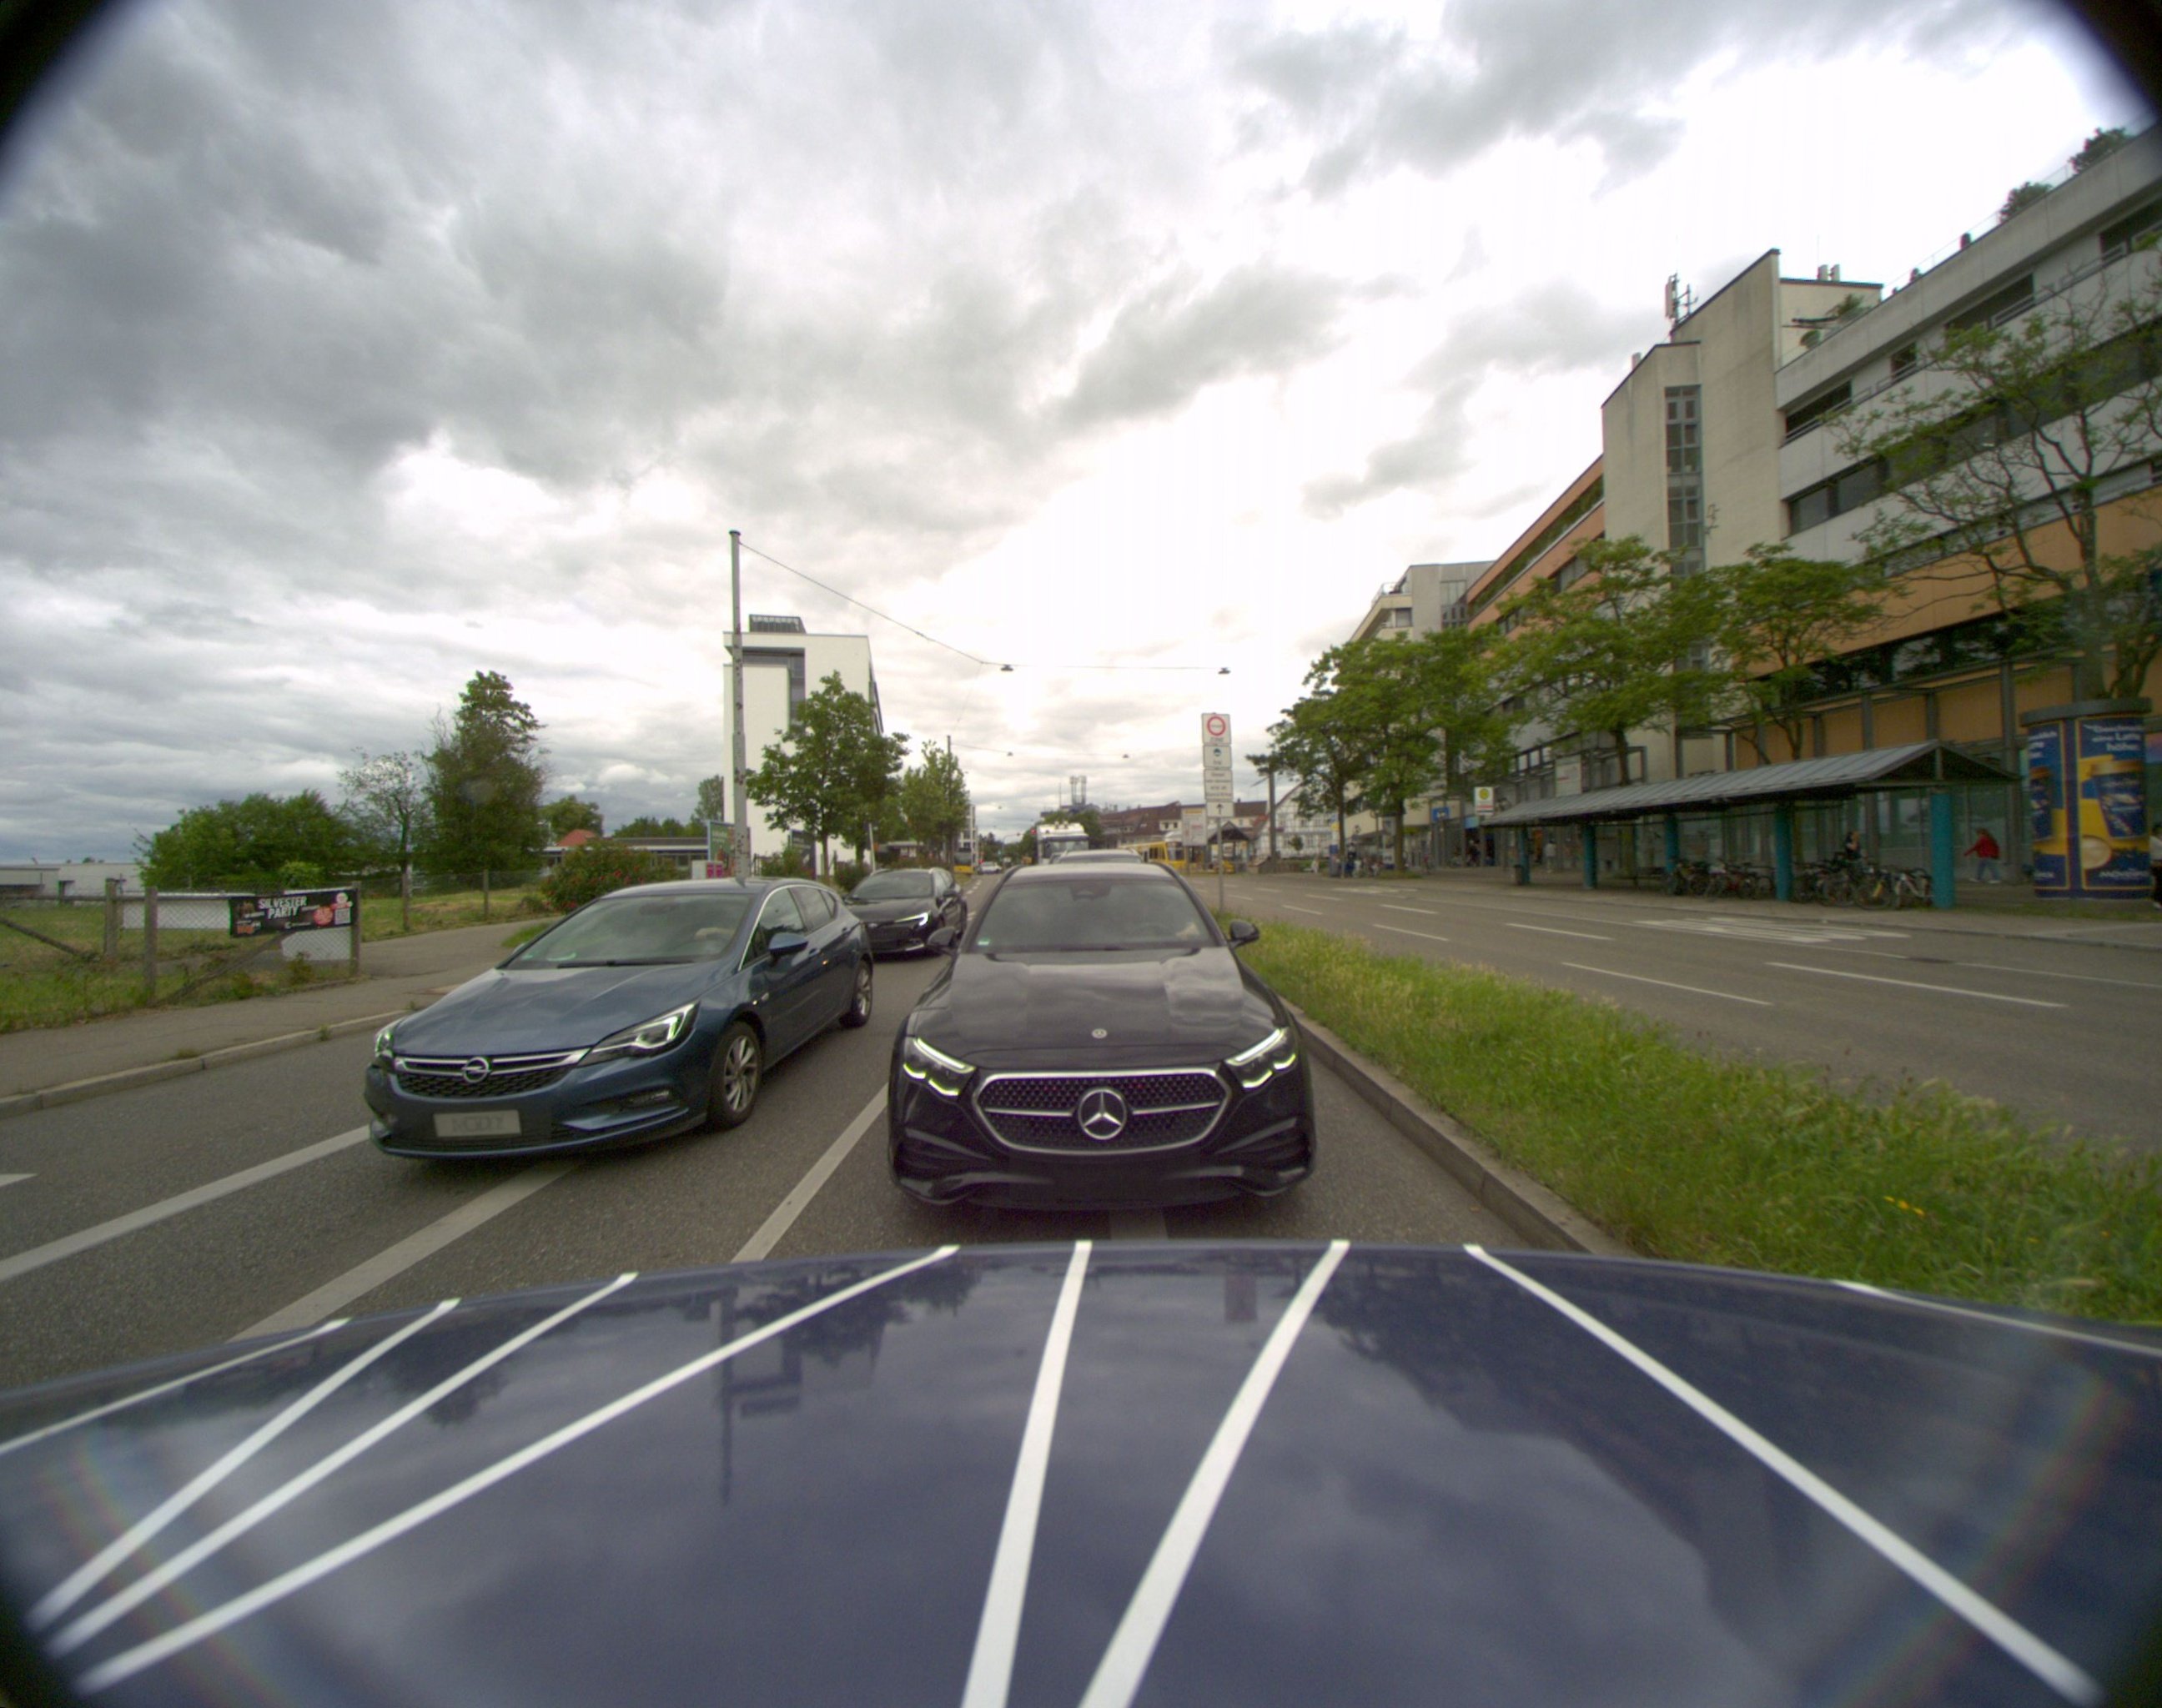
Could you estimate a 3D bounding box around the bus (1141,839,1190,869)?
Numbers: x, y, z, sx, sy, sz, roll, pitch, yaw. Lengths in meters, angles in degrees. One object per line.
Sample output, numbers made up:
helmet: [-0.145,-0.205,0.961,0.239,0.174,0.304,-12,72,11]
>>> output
bus: [8.700,-0.005,79.020,2.556,2.966,8.498,-1,0,-11]

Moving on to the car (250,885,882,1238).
car: [-2.913,1.046,5.533,1.826,1.402,4.000,-2,0,0]

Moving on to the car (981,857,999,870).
car: [-11.858,1.246,99.163,1.853,1.606,3.779,-3,0,-13]

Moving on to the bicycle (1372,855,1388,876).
bicycle: [16.402,0.615,41.651,0.593,1.071,2.041,0,1,29]

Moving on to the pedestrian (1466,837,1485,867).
pedestrian: [24.412,-0.141,46.989,0.765,1.835,0.752,-1,1,1]

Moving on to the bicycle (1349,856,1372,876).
bicycle: [15.479,0.647,42.023,0.593,1.071,2.041,0,1,38]

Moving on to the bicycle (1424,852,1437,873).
bicycle: [19.487,0.461,42.390,0.593,1.119,2.040,0,1,24]

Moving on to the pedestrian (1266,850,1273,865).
pedestrian: [19.318,0.366,77.907,0.577,1.533,0.583,-1,1,-8]

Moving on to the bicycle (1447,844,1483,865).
bicycle: [26.994,0.022,53.406,2.139,1.367,0.620,-2,1,18]

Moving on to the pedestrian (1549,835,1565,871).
pedestrian: [24.099,-0.056,38.494,0.648,1.799,0.761,0,1,34]

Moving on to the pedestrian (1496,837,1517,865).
pedestrian: [25.230,-0.174,45.059,0.765,1.673,0.752,-1,1,1]

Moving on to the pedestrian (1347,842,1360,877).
pedestrian: [17.885,0.348,49.910,0.590,2.294,0.608,-1,1,-2]

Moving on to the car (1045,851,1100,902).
car: [-0.366,0.771,28.351,1.865,1.773,3.999,-1,0,-2]

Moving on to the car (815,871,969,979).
car: [-3.092,1.098,13.235,1.665,1.448,3.921,-2,0,0]

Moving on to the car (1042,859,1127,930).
car: [0.045,0.906,18.915,1.865,1.520,3.999,-1,0,-1]

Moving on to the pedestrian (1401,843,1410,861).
pedestrian: [26.048,-0.156,61.044,0.555,1.485,0.454,-1,1,8]

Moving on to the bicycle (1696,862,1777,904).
bicycle: [17.948,0.784,20.816,1.735,1.035,0.549,-3,1,-2]

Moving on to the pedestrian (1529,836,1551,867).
pedestrian: [25.362,-0.141,42.010,0.765,1.673,0.752,-1,1,1]

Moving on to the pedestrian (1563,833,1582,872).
pedestrian: [25.440,-0.088,39.328,0.566,2.002,0.611,-1,1,6]

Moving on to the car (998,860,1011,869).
car: [-15.209,2.152,151.658,1.998,1.674,3.999,-2,1,1]

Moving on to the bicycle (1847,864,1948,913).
bicycle: [18.685,0.778,17.404,1.735,1.035,0.549,-2,1,-2]

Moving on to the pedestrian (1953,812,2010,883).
pedestrian: [26.057,-0.183,21.990,0.710,2.002,0.793,-2,1,-10]

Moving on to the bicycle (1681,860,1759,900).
bicycle: [18.284,0.737,21.748,1.735,1.035,0.549,-4,1,-2]

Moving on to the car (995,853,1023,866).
car: [-11.911,0.918,125.877,4.143,1.875,1.848,-3,1,-40]

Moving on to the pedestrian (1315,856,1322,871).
pedestrian: [18.744,0.723,59.961,0.341,1.172,0.369,-1,1,-9]

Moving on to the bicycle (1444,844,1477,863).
bicycle: [27.757,-0.036,55.557,2.138,1.358,0.620,-2,1,26]

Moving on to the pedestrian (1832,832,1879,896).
pedestrian: [21.824,0.271,21.422,0.531,1.776,0.770,-1,1,-7]

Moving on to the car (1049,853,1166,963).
car: [0.393,0.816,13.488,1.734,1.601,4.000,-2,0,0]

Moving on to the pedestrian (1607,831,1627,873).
pedestrian: [25.829,-0.076,36.638,0.566,2.002,0.611,-1,1,6]

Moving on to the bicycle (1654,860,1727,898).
bicycle: [18.205,0.742,22.709,1.735,1.035,0.549,-3,1,-2]

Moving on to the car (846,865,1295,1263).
car: [-0.052,0.880,5.196,1.793,1.507,4.249,-1,0,0]

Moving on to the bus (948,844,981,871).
bus: [-12.816,0.383,82.733,2.969,2.616,12.137,-2,1,-11]

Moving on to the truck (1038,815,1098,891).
truck: [-0.766,-0.049,36.730,2.490,3.258,7.428,-1,0,-4]

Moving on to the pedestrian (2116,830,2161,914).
pedestrian: [21.588,0.347,15.235,0.678,1.640,0.721,-2,1,-3]

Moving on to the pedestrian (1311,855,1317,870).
pedestrian: [18.354,0.644,59.867,0.341,1.172,0.369,-1,1,-9]

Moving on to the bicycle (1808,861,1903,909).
bicycle: [18.626,0.746,18.289,1.735,1.035,0.549,-3,1,-2]

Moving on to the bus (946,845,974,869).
bus: [-15.221,0.338,95.056,2.969,2.616,12.911,-2,1,-11]

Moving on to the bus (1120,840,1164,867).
bus: [6.935,-0.084,87.956,2.556,2.966,9.790,-1,0,-11]

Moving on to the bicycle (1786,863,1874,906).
bicycle: [19.026,0.768,19.314,1.735,1.035,0.549,-2,1,-2]
